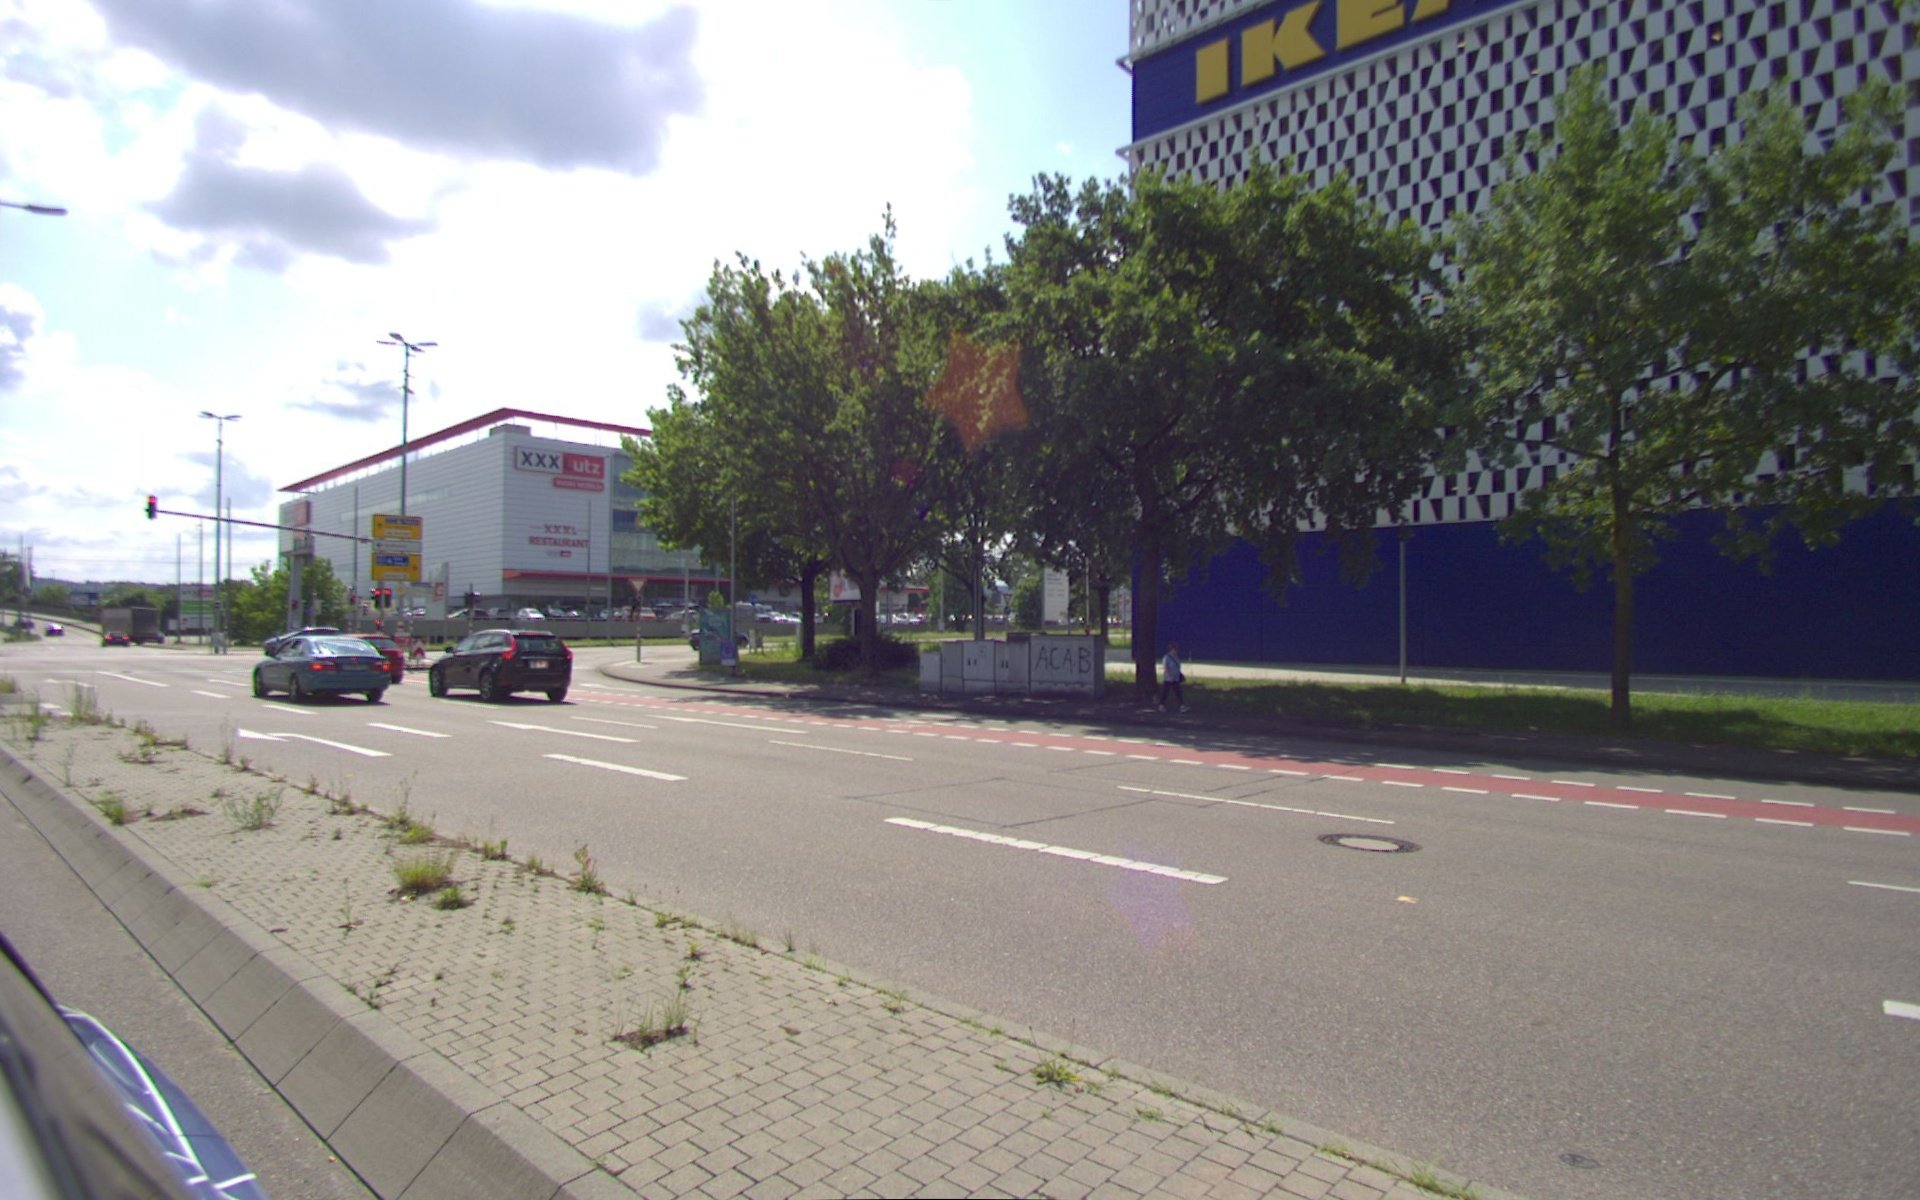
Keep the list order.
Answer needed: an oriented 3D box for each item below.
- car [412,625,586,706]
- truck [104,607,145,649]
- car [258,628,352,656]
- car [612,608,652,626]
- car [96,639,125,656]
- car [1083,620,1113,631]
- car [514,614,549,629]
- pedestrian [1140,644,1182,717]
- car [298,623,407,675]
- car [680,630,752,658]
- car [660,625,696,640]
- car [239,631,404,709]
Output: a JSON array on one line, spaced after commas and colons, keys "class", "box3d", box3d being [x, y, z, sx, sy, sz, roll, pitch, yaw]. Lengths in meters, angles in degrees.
[{"class": "car", "box3d": [-11.182, 1.531, 24.409, 4.818, 1.769, 1.908, -1, -5, 41]}, {"class": "truck", "box3d": [-86.416, 2.948, 104.746, 3.171, 4.058, 9.086, 0, -3, -39]}, {"class": "car", "box3d": [-37.081, 2.356, 57.375, 1.608, 1.542, 4.207, -2, -3, 45]}, {"class": "car", "box3d": [-35.275, 1.840, 108.748, 4.175, 1.763, 1.896, -3, -2, 32]}, {"class": "car", "box3d": [-79.914, 4.481, 95.170, 1.753, 1.489, 4.682, 1, -3, -44]}, {"class": "car", "box3d": [22.111, 4.063, 162.135, 4.425, 1.618, 1.926, -3, -3, 45]}, {"class": "car", "box3d": [-47.526, 2.376, 112.183, 4.423, 1.482, 1.927, -3, -3, 43]}, {"class": "pedestrian", "box3d": [4.461, 1.778, 22.494, 0.760, 1.567, 0.497, -1, -2, 42]}, {"class": "car", "box3d": [-18.700, 1.486, 31.079, 4.124, 1.494, 1.668, -1, -4, 42]}, {"class": "car", "box3d": [-14.641, 2.620, 61.074, 1.885, 1.567, 4.550, -1, -2, 23]}, {"class": "car", "box3d": [-31.688, 3.653, 113.722, 4.425, 1.618, 1.926, -3, -3, 45]}, {"class": "car", "box3d": [-14.412, 1.519, 22.728, 4.818, 1.560, 1.754, -1, -5, 41]}]
